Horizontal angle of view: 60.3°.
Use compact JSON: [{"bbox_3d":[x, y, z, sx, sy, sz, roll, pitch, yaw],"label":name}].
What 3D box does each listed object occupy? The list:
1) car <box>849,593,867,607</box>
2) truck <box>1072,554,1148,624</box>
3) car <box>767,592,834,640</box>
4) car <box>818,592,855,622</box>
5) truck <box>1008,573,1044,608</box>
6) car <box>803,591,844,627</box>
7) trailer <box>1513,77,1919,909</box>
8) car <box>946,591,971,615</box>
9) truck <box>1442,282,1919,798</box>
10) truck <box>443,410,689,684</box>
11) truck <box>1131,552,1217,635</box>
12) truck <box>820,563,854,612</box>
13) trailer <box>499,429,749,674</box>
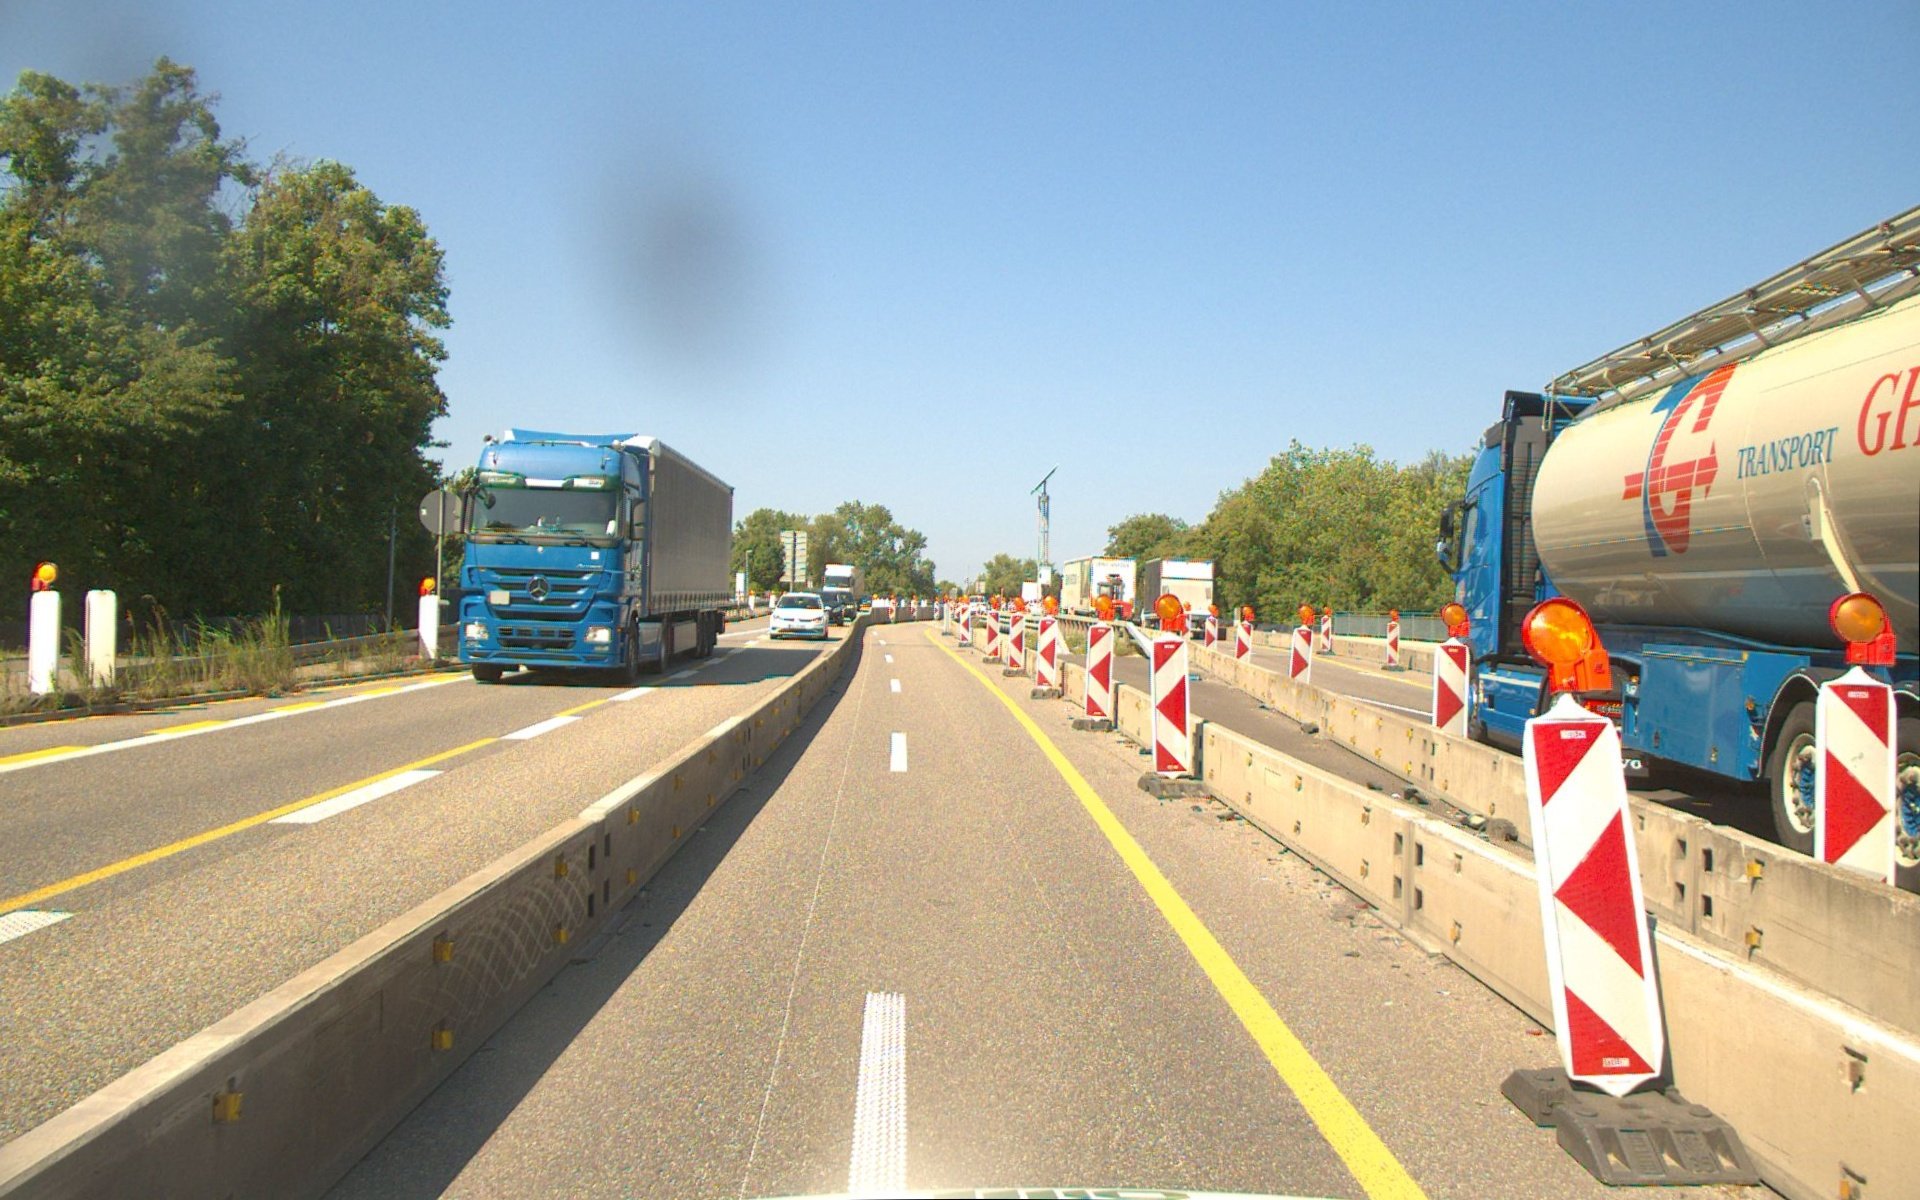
[{"bbox_3d":[-11.376,0.027,184.720,1.893,1.534,4.467,1,0,-2],"label":"car"},{"bbox_3d":[8.537,-0.605,95.009,3.320,3.840,7.229,1,0,-3],"label":"truck"},{"bbox_3d":[-5.049,0.479,52.748,1.777,1.442,4.152,1,0,-1],"label":"car"},{"bbox_3d":[-6.975,0.378,93.627,1.825,1.660,4.564,1,0,-2],"label":"car"},{"bbox_3d":[8.550,-1.224,215.408,4.134,4.341,10.239,1,0,-1],"label":"truck"},{"bbox_3d":[-6.272,0.410,76.231,1.703,1.579,3.941,1,0,-2],"label":"car"},{"bbox_3d":[6.408,-0.529,10.668,2.637,4.210,12.622,1,0,6],"label":"trailer"},{"bbox_3d":[-0.142,0.208,127.346,1.780,1.807,3.998,1,0,-3],"label":"car"},{"bbox_3d":[7.056,-0.491,17.125,2.637,4.174,7.305,1,0,6],"label":"truck"},{"bbox_3d":[-6.385,-0.810,27.745,2.758,4.060,5.983,1,0,-1],"label":"truck"},{"bbox_3d":[9.447,-0.285,73.678,2.581,3.487,7.229,0,0,-3],"label":"truck"},{"bbox_3d":[-11.012,-1.095,148.263,2.694,4.209,6.413,1,0,-2],"label":"truck"},{"bbox_3d":[-6.555,-0.866,34.758,2.746,4.113,13.464,1,0,-1],"label":"trailer"}]
